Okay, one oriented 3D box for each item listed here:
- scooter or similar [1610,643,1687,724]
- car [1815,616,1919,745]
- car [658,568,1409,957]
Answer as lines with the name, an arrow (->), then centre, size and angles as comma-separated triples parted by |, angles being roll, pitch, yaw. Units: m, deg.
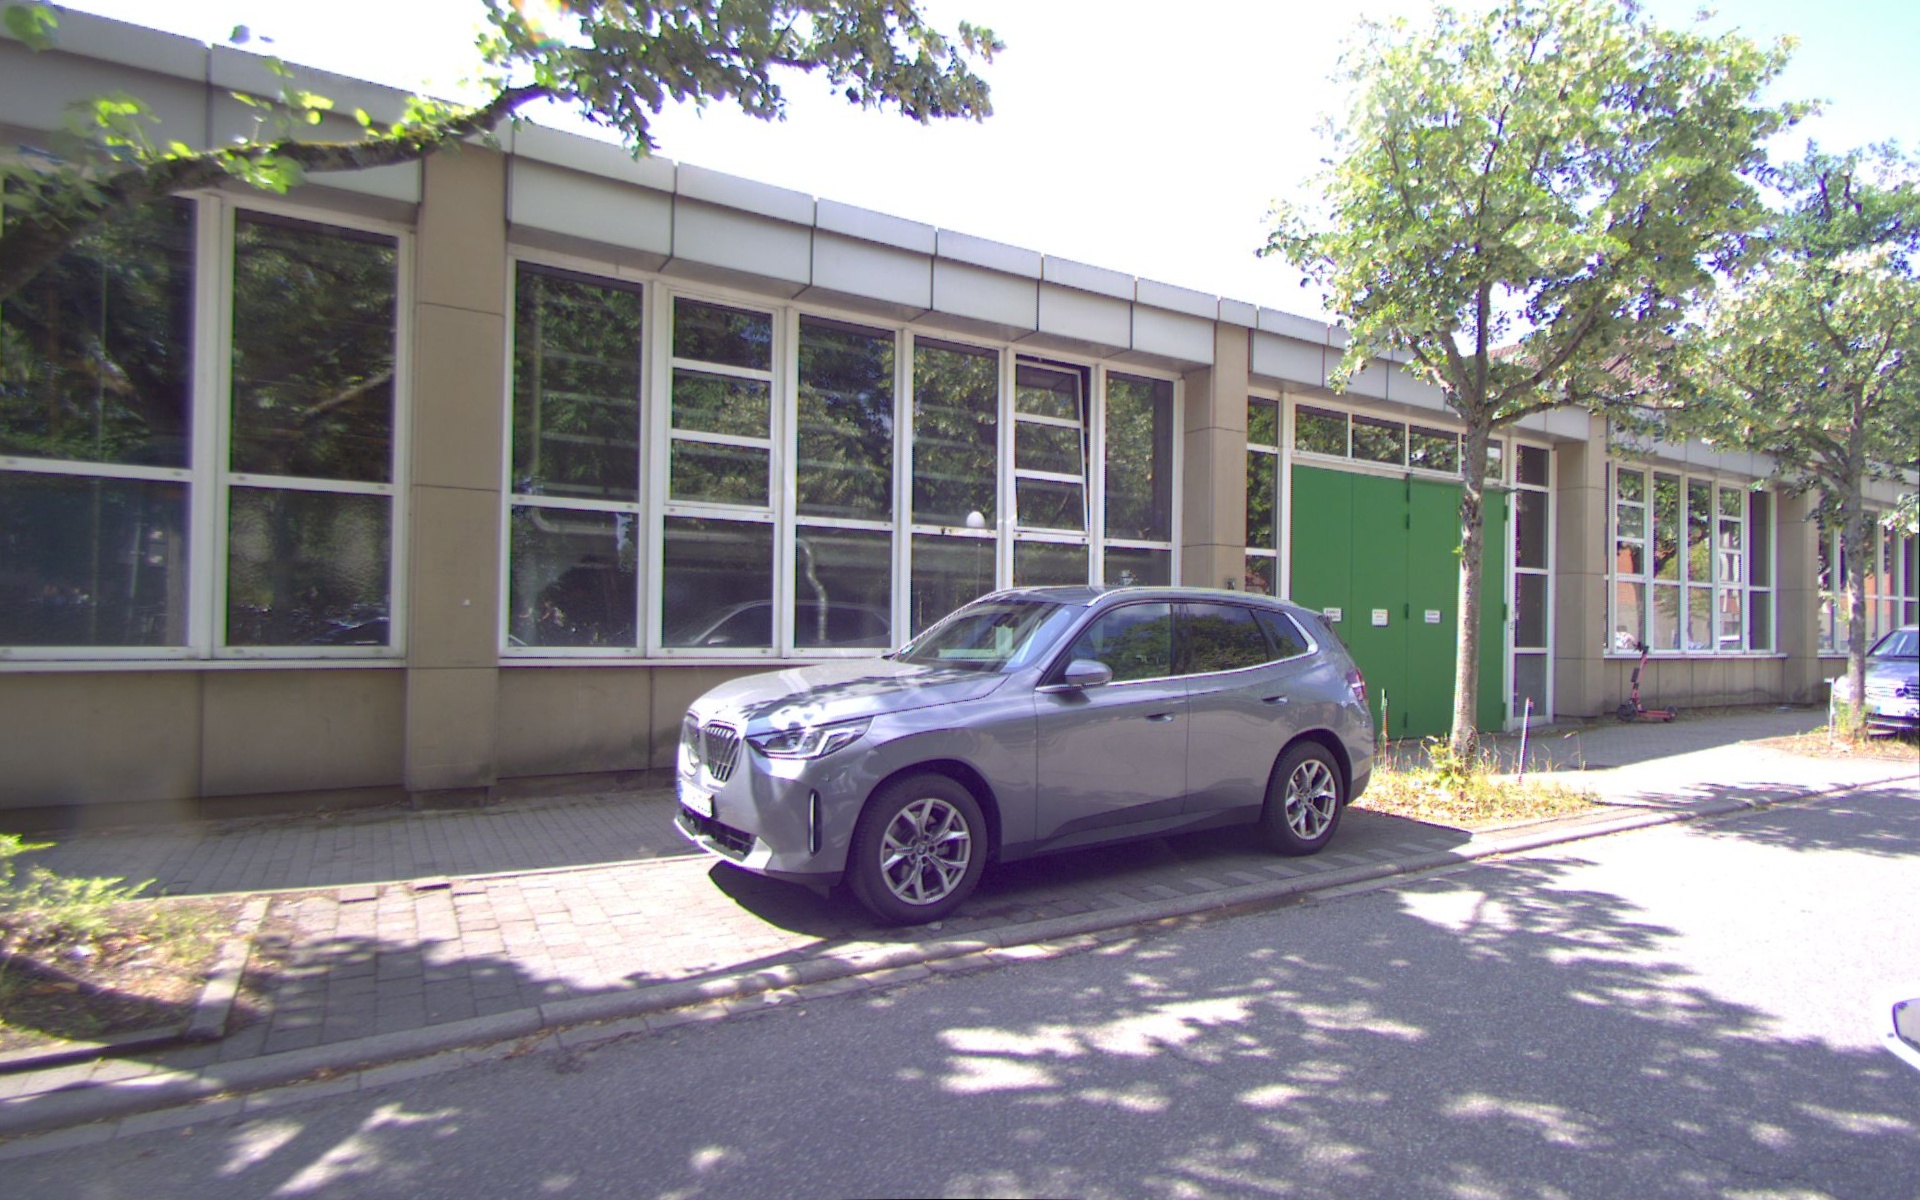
scooter or similar -> 10.663, 1.274, 15.558 | 1.201, 1.185, 0.503 | 1, 0, -30
car -> 13.695, 1.079, 13.865 | 4.068, 1.577, 1.747 | 2, 0, -33
car -> 0.627, 0.732, 6.261 | 4.469, 1.654, 1.811 | 2, 0, -33
